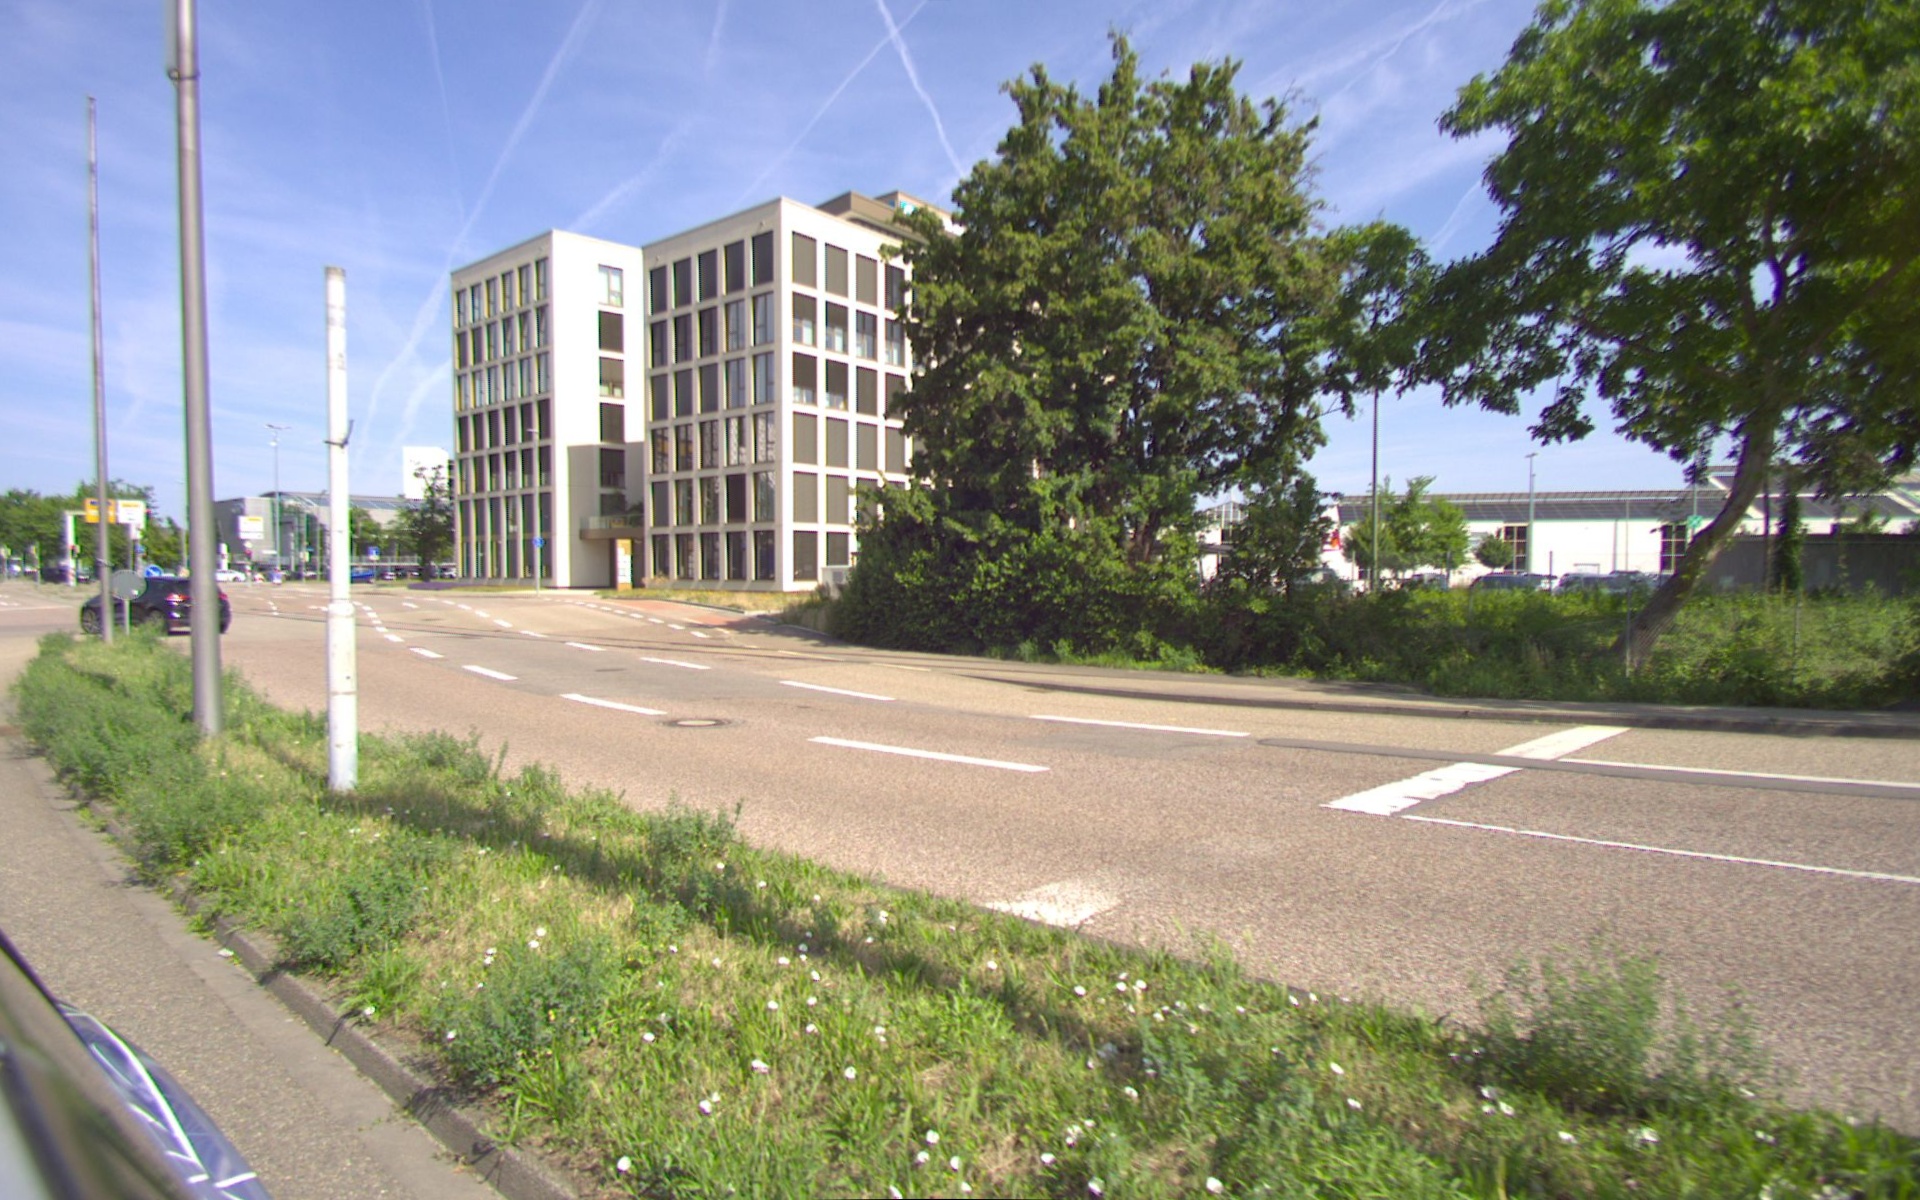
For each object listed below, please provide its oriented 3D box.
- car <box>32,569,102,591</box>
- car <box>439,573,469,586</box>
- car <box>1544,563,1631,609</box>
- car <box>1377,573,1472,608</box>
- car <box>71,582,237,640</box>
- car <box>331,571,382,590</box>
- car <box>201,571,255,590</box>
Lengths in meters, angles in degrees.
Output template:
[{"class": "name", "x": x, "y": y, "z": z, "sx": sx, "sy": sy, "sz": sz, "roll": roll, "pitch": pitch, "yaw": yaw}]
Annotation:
[{"class": "car", "x": -79.248, "y": -1.781, "z": 89.861, "sx": 4.320, "sy": 1.861, "sz": 1.818, "roll": 0, "pitch": 1, "yaw": -20}, {"class": "car", "x": -61.441, "y": -2.458, "z": 122.895, "sx": 3.934, "sy": 1.584, "sz": 1.789, "roll": 1, "pitch": 1, "yaw": 38}, {"class": "car", "x": 21.317, "y": -0.507, "z": 34.521, "sx": 1.789, "sy": 1.408, "sz": 3.972, "roll": -1, "pitch": 2, "yaw": 21}, {"class": "car", "x": 20.332, "y": -0.421, "z": 44.318, "sx": 3.593, "sy": 1.408, "sz": 1.547, "roll": -1, "pitch": 2, "yaw": 32}, {"class": "car", "x": -22.817, "y": 0.280, "z": 28.677, "sx": 4.113, "sy": 1.541, "sz": 1.850, "roll": 0, "pitch": 0, "yaw": 20}, {"class": "car", "x": -62.817, "y": -2.013, "z": 105.401, "sx": 4.330, "sy": 1.861, "sz": 1.814, "roll": -1, "pitch": 1, "yaw": -44}, {"class": "car", "x": -73.069, "y": -1.960, "z": 101.096, "sx": 4.323, "sy": 1.861, "sz": 1.816, "roll": -1, "pitch": 1, "yaw": -35}]
